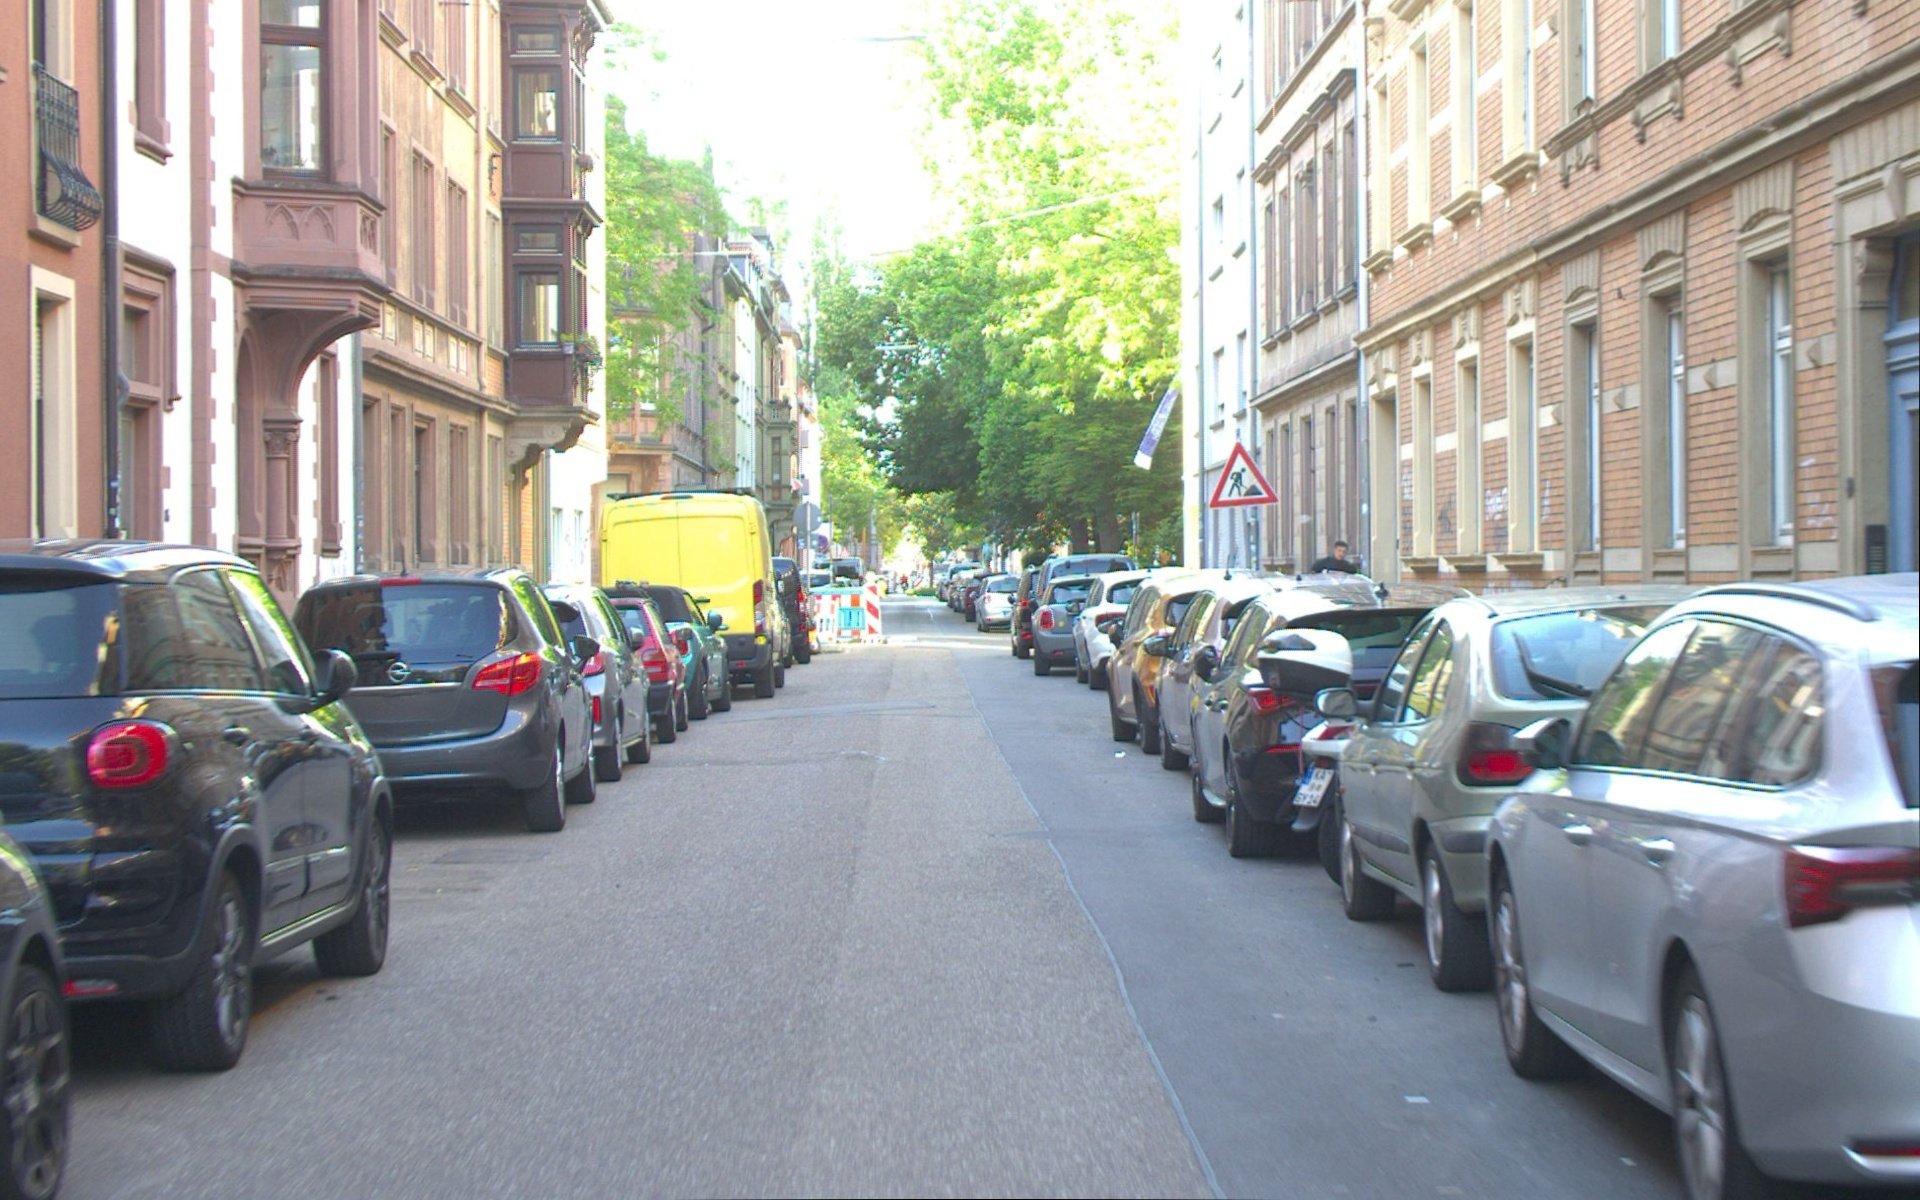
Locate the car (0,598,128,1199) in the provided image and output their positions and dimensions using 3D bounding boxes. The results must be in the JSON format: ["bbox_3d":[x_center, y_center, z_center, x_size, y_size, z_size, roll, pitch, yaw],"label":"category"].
[{"bbox_3d":[-2.903,0.799,6.721,1.643,1.450,3.839,-3,1,-2],"label":"car"}]

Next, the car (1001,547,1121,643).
[{"bbox_3d":[1.780,-0.101,61.866,1.900,1.634,4.391,-1,0,-1],"label":"car"}]

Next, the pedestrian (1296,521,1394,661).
[{"bbox_3d":[4.623,-0.104,41.303,0.654,1.625,0.880,-3,0,-42],"label":"pedestrian"}]

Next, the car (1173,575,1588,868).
[{"bbox_3d":[2.243,0.594,19.413,1.777,1.392,4.317,-1,1,0],"label":"car"}]

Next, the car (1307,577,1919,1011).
[{"bbox_3d":[2.450,0.648,13.711,1.692,1.401,3.992,-1,1,0],"label":"car"}]

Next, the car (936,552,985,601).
[{"bbox_3d":[0.004,-1.108,163.001,2.160,2.248,4.526,-1,0,-2],"label":"car"}]

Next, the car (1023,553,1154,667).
[{"bbox_3d":[1.894,0.114,51.760,1.754,1.448,4.288,-5,1,1],"label":"car"}]

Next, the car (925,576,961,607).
[{"bbox_3d":[-0.998,-0.484,200.625,1.993,1.722,4.000,-2,1,-1],"label":"car"}]

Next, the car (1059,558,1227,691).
[{"bbox_3d":[2.389,0.286,45.875,1.754,1.513,4.444,-5,1,-2],"label":"car"}]

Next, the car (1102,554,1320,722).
[{"bbox_3d":[2.513,0.343,35.236,1.720,1.475,4.083,-5,1,-1],"label":"car"}]

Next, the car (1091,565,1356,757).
[{"bbox_3d":[2.243,0.482,30.262,1.753,1.441,4.069,-4,1,-2],"label":"car"}]

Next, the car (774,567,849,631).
[{"bbox_3d":[-4.203,-0.036,97.587,1.882,1.701,4.000,-2,0,0],"label":"car"}]

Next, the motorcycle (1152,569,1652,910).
[{"bbox_3d":[2.117,0.640,16.423,2.218,1.531,0.890,1,1,-26],"label":"motorcycle"}]

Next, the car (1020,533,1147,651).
[{"bbox_3d":[2.009,-0.170,57.196,1.753,1.780,4.724,-4,1,-1],"label":"car"}]

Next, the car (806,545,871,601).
[{"bbox_3d":[-4.748,-1.047,135.427,2.309,2.107,5.170,-1,0,0],"label":"car"}]

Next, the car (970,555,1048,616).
[{"bbox_3d":[1.278,-0.405,91.297,1.723,1.517,4.001,-2,1,-3],"label":"car"}]

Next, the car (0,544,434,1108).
[{"bbox_3d":[-3.044,0.630,11.974,1.761,1.612,4.189,-1,1,0],"label":"car"}]

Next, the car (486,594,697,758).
[{"bbox_3d":[-3.416,0.671,32.401,1.618,1.322,3.613,-4,1,-2],"label":"car"}]

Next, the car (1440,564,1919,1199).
[{"bbox_3d":[2.412,0.677,8.645,1.762,1.479,4.401,-1,1,0],"label":"car"}]

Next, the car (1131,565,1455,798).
[{"bbox_3d":[2.376,0.537,25.518,1.725,1.412,4.094,-5,1,-2],"label":"car"}]

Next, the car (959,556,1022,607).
[{"bbox_3d":[0.985,-0.598,112.580,1.894,1.620,4.000,-1,0,-2],"label":"car"}]

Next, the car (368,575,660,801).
[{"bbox_3d":[-3.352,0.611,26.504,1.694,1.469,3.919,-4,1,-1],"label":"car"}]

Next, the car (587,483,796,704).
[{"bbox_3d":[-3.319,-0.119,43.728,2.175,2.499,5.878,-3,1,-1],"label":"car"}]

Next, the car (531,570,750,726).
[{"bbox_3d":[-3.386,0.474,37.060,1.718,1.408,3.897,-6,1,2],"label":"car"}]

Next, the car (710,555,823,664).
[{"bbox_3d":[-3.294,0.134,58.402,1.818,1.760,4.336,-1,1,-4],"label":"car"}]

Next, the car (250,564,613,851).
[{"bbox_3d":[-3.231,0.594,21.721,1.781,1.600,4.070,-1,1,-2],"label":"car"}]
